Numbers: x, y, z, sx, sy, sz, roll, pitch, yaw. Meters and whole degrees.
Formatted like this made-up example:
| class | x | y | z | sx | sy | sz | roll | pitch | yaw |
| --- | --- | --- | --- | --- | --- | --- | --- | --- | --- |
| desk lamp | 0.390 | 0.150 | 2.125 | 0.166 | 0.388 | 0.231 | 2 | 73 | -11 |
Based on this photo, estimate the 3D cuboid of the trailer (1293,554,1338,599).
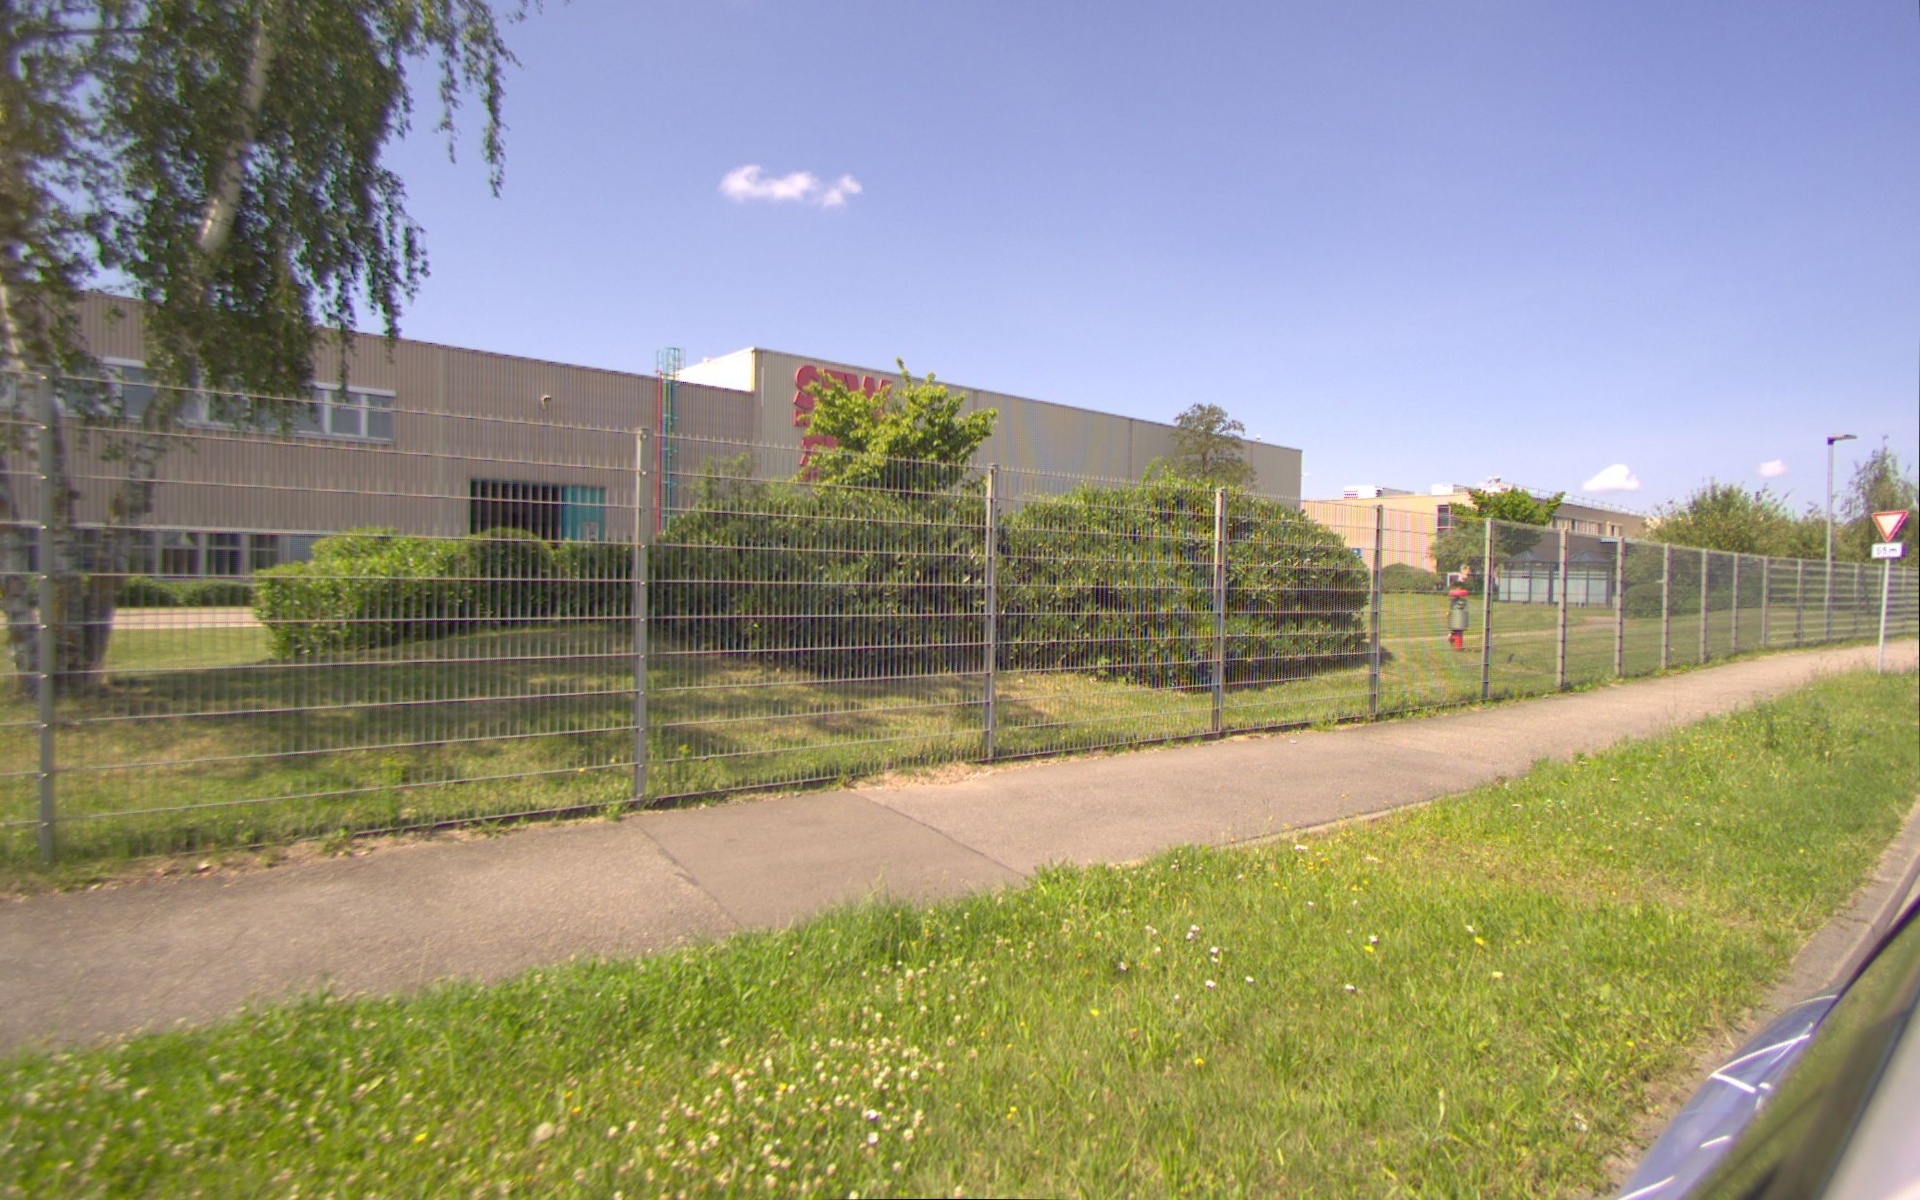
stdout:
| class | x | y | z | sx | sy | sz | roll | pitch | yaw |
| --- | --- | --- | --- | --- | --- | --- | --- | --- | --- |
| trailer | 23.070 | -1.545 | 65.588 | 1.981 | 2.755 | 5.932 | 1 | 2 | 27 |
